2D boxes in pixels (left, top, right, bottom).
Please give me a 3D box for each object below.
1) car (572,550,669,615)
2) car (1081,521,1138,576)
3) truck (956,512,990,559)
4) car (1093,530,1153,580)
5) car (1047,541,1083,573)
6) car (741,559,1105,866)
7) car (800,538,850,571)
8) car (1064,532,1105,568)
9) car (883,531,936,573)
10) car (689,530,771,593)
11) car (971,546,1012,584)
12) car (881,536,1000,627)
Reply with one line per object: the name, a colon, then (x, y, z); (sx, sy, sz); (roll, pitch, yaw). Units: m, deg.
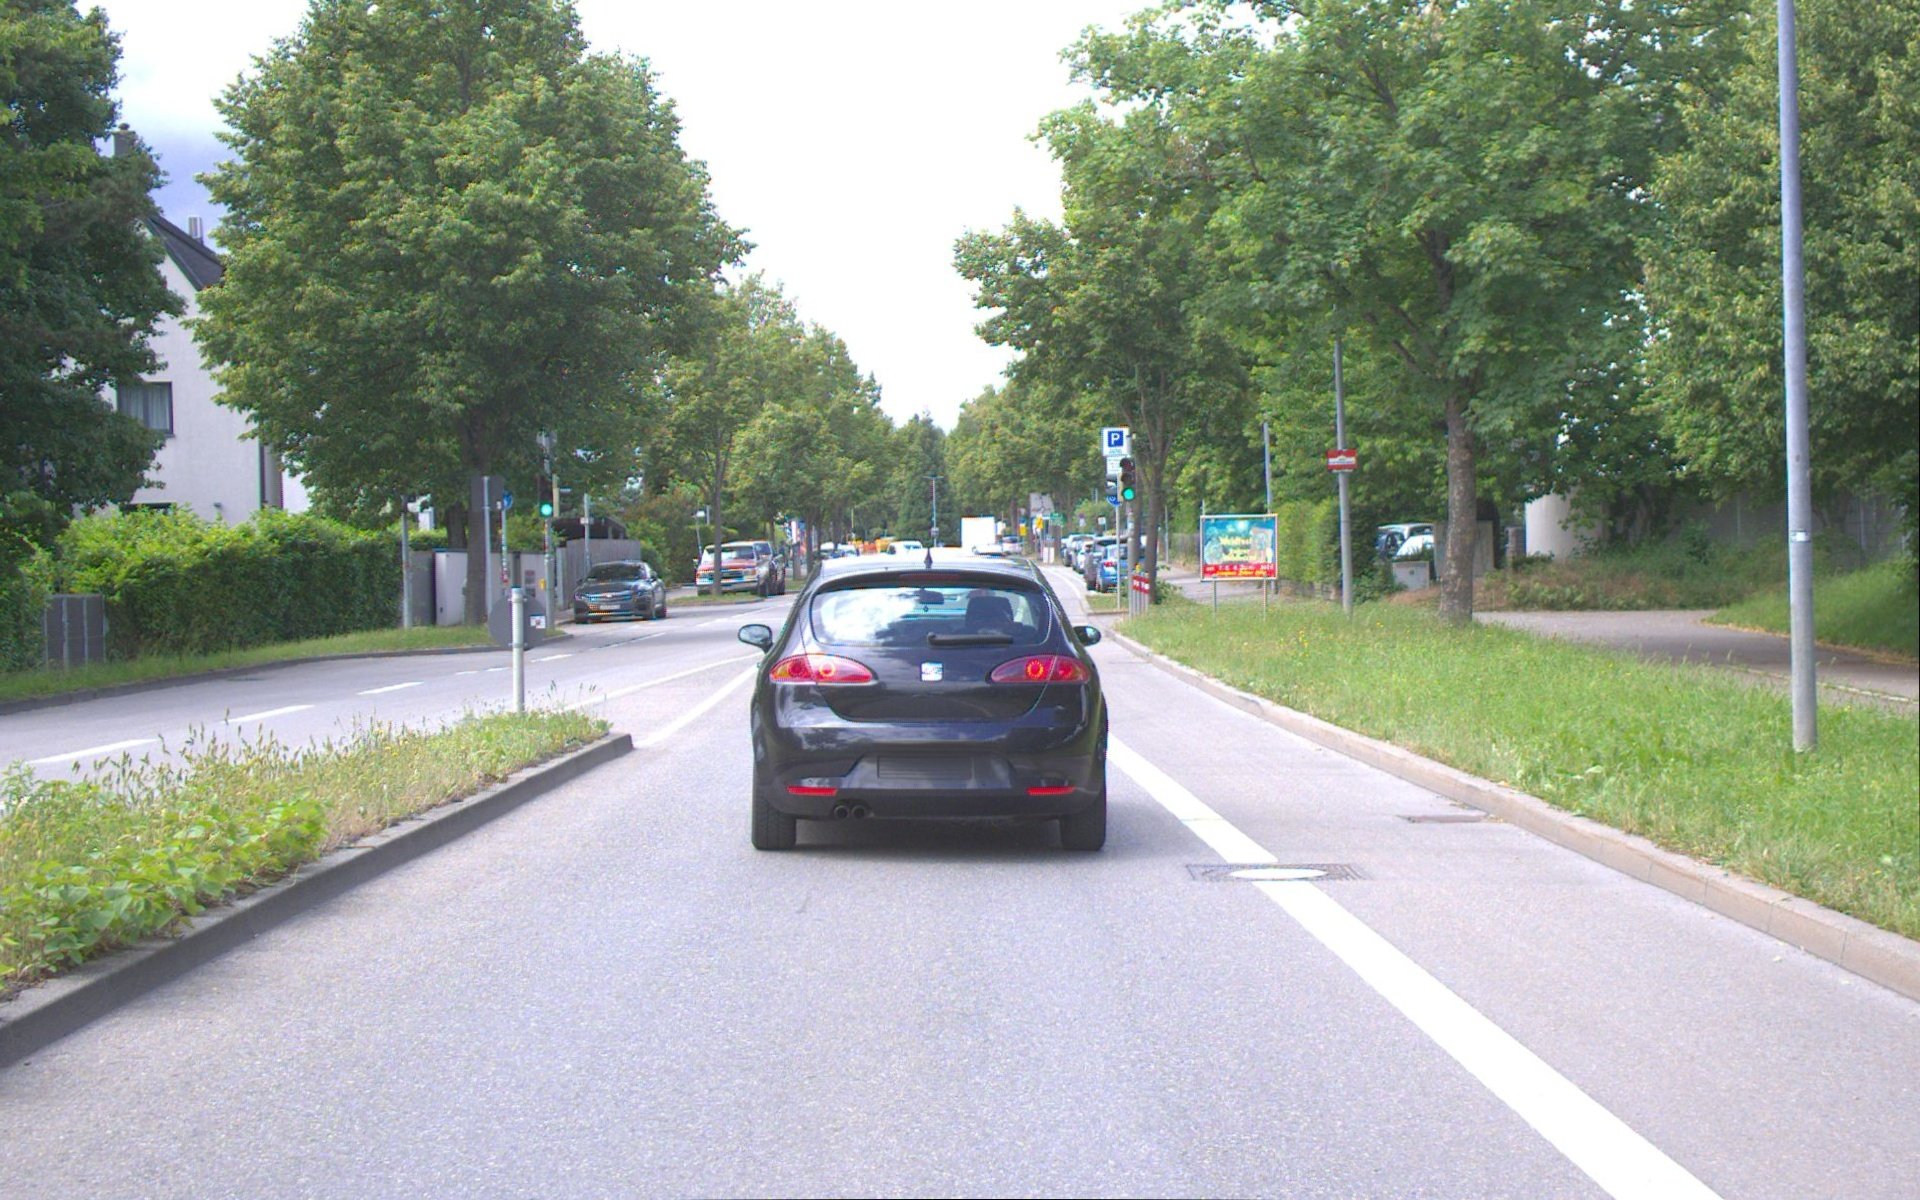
car: (-8.074, -0.434, 82.033); (1.718, 1.390, 4.801); (-3, 1, 1)
car: (4.797, -1.678, 110.684); (1.688, 1.705, 4.214); (-1, 1, 1)
truck: (0.861, -4.387, 235.879); (2.279, 3.093, 8.511); (1, 1, 0)
car: (4.992, -1.392, 105.522); (1.688, 1.485, 3.355); (-1, 1, 1)
car: (5.444, -2.247, 178.358); (1.688, 1.558, 4.214); (-3, 1, 1)
car: (-0.189, 0.494, 17.667); (1.663, 1.396, 3.812); (0, 1, -1)
car: (-6.597, -2.244, 168.521); (2.100, 1.501, 5.784); (-3, 1, 1)
car: (5.566, -2.230, 153.941); (1.688, 1.559, 4.214); (-1, 1, 1)
car: (-2.104, -2.035, 143.392); (1.875, 1.629, 4.340); (-3, 1, 3)
car: (-7.388, -1.259, 111.092); (2.100, 1.890, 5.784); (-3, 1, 1)
car: (1.477, -1.659, 162.077); (1.881, 1.683, 4.214); (-1, 1, 1)
car: (-0.303, -0.331, 58.513); (1.846, 1.504, 3.811); (0, 1, 2)
